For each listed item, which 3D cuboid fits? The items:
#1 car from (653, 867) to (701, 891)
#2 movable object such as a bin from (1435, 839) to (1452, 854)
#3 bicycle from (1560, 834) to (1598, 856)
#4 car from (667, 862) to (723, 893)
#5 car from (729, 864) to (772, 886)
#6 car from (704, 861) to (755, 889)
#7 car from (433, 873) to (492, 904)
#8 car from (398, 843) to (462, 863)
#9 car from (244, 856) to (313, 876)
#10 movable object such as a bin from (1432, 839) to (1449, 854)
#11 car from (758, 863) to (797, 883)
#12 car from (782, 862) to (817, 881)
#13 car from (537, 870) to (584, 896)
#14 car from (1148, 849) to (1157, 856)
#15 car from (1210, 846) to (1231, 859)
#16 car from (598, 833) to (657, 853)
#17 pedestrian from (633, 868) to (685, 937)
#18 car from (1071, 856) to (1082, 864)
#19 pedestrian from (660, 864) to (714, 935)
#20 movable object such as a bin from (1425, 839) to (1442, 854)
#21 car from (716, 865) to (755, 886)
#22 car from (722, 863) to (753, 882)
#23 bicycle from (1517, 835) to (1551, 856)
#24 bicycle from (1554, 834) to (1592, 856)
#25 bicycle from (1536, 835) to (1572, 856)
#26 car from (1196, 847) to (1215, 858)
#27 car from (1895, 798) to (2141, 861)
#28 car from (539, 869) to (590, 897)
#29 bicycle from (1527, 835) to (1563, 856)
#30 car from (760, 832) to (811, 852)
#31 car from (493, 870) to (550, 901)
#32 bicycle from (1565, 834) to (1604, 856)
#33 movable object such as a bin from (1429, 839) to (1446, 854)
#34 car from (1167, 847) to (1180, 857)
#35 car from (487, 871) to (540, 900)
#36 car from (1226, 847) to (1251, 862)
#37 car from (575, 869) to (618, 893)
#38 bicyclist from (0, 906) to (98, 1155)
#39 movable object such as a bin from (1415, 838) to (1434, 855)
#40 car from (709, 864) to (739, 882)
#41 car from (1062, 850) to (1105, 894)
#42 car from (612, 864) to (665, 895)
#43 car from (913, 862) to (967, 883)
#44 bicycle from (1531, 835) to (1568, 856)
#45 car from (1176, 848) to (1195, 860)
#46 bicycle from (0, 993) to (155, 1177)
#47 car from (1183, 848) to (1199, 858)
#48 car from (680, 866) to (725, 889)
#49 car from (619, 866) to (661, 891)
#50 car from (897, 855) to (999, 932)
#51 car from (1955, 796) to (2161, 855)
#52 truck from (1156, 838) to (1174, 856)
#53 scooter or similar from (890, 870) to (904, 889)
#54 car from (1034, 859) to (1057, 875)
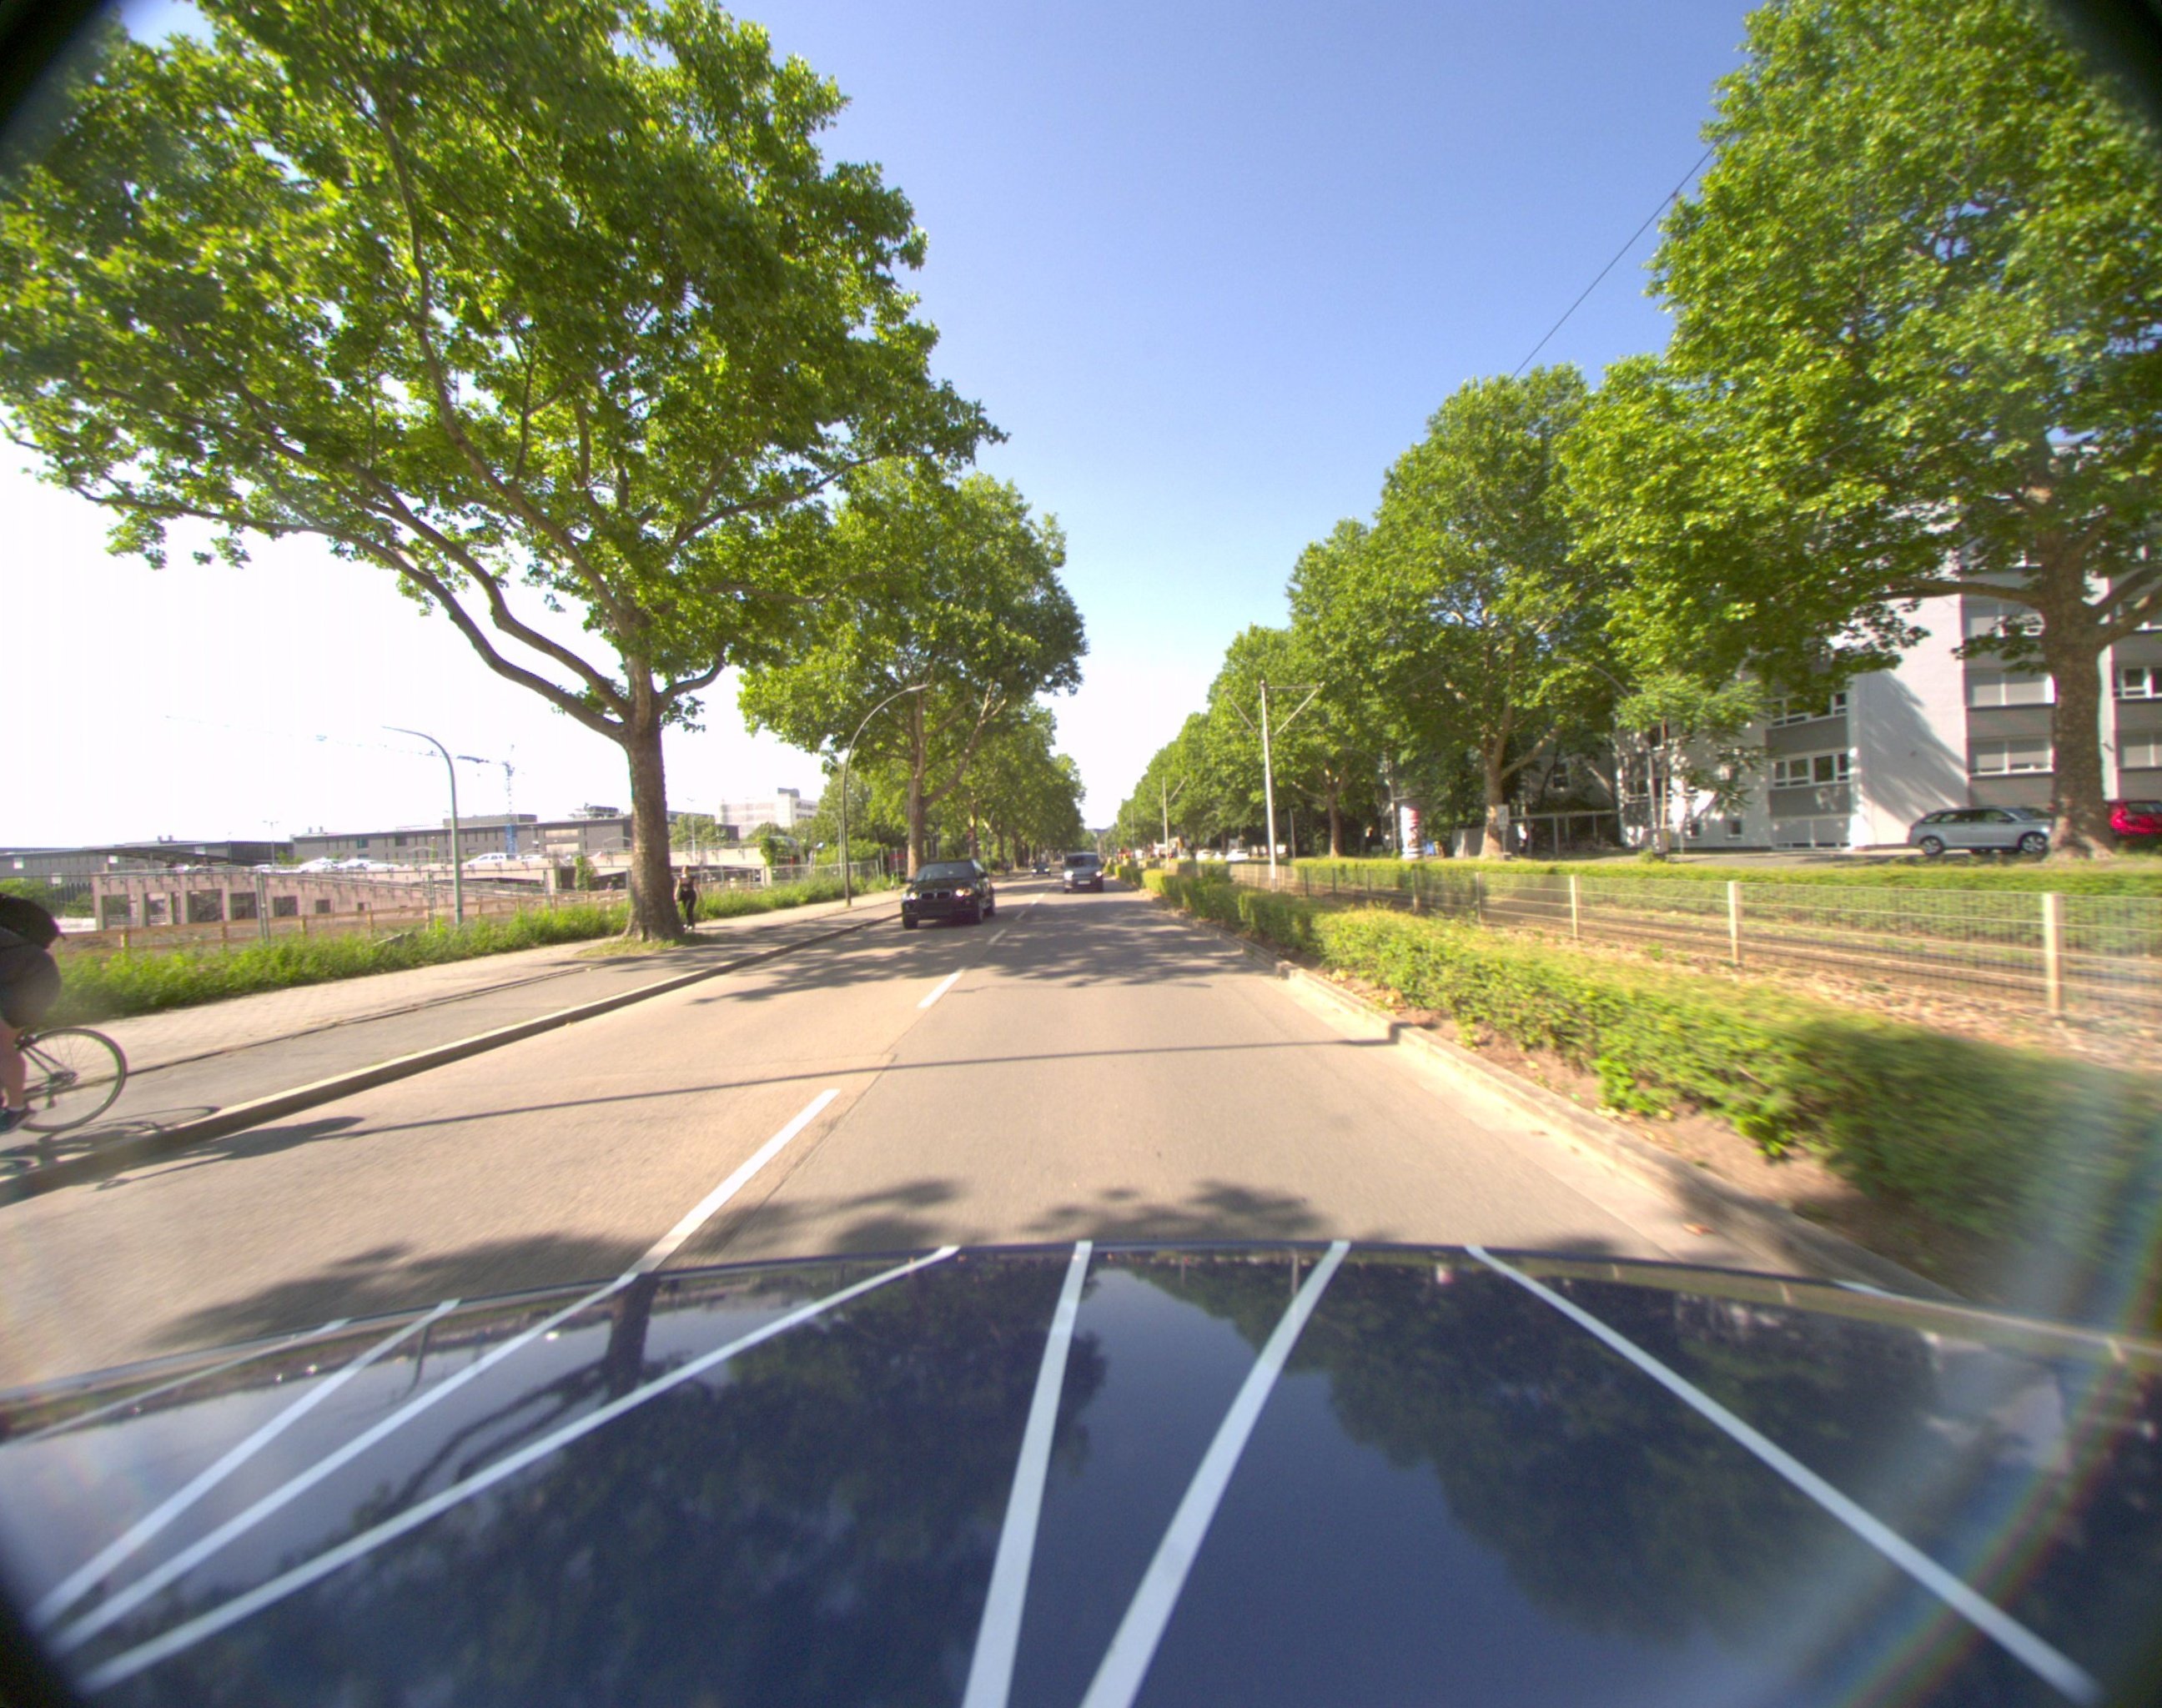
[{"bbox_3d":[-43.230,2.684,81.324,3.997,2.308,1.808,-3,0,-2],"label":"car"},{"bbox_3d":[25.422,-0.508,53.260,0.898,1.031,0.546,-3,0,0],"label":"movable object such as a bin"},{"bbox_3d":[27.172,-0.498,41.447,1.770,1.096,0.422,-3,0,0],"label":"bicycle"},{"bbox_3d":[-37.739,2.235,74.323,4.375,2.723,1.808,-3,0,-2],"label":"car"},{"bbox_3d":[-37.822,2.390,87.115,3.997,2.308,1.808,-3,0,-2],"label":"car"},{"bbox_3d":[-37.600,2.207,81.355,4.375,2.723,1.808,-3,0,-2],"label":"car"},{"bbox_3d":[-60.263,3.366,74.062,3.997,2.723,1.808,-3,0,-2],"label":"car"},{"bbox_3d":[-57.855,-0.072,67.608,3.997,1.501,1.808,-3,0,-2],"label":"car"},{"bbox_3d":[-71.391,1.043,67.625,3.997,1.501,1.808,-3,0,-2],"label":"car"},{"bbox_3d":[25.491,-0.513,53.815,0.898,1.031,0.546,-3,0,0],"label":"movable object such as a bin"},{"bbox_3d":[-38.032,2.377,95.157,3.997,2.308,1.808,-3,0,-2],"label":"car"},{"bbox_3d":[-37.789,2.344,102.048,3.997,2.308,1.808,-3,0,-2],"label":"car"},{"bbox_3d":[-60.140,3.319,87.798,3.997,2.723,1.808,-3,0,-2],"label":"car"},{"bbox_3d":[16.626,-0.336,177.113,1.752,1.445,3.865,-3,0,0],"label":"car"},{"bbox_3d":[17.262,-0.162,94.113,1.856,1.445,4.000,-3,0,0],"label":"car"},{"bbox_3d":[-40.401,-0.964,67.752,3.997,1.501,1.808,-3,0,-2],"label":"car"},{"bbox_3d":[-10.898,1.229,19.650,0.697,1.673,0.959,-3,0,0],"label":"pedestrian"},{"bbox_3d":[-0.898,1.086,143.735,1.854,1.418,4.152,-4,0,2],"label":"car"},{"bbox_3d":[-10.102,1.147,19.521,0.711,1.714,1.066,-3,0,0],"label":"pedestrian"},{"bbox_3d":[25.491,-0.517,54.987,0.898,1.031,0.546,-3,0,0],"label":"movable object such as a bin"},{"bbox_3d":[-43.200,2.641,95.098,3.997,2.308,1.808,-3,0,-2],"label":"car"},{"bbox_3d":[-55.335,2.971,122.407,3.997,2.723,1.808,-3,0,-2],"label":"car"},{"bbox_3d":[27.055,-0.503,45.376,1.770,1.096,0.422,-3,0,0],"label":"bicycle"},{"bbox_3d":[27.163,-0.499,41.944,1.770,1.096,0.422,-3,0,0],"label":"bicycle"},{"bbox_3d":[27.015,-0.495,43.389,1.770,1.096,0.422,-3,0,0],"label":"bicycle"},{"bbox_3d":[17.099,-0.194,104.810,1.860,1.445,4.000,-3,0,0],"label":"car"},{"bbox_3d":[26.948,-0.643,22.137,1.747,1.541,4.348,-3,0,0],"label":"car"},{"bbox_3d":[-55.014,3.077,81.048,3.997,2.723,1.808,-3,0,-2],"label":"car"},{"bbox_3d":[27.054,-0.500,44.290,1.770,1.096,0.422,-3,0,0],"label":"bicycle"},{"bbox_3d":[-27.336,-1.098,70.351,3.997,1.501,1.808,-3,0,-2],"label":"car"},{"bbox_3d":[-54.494,3.072,74.020,3.997,2.723,1.808,-3,0,-2],"label":"car"},{"bbox_3d":[27.170,-0.496,40.983,1.770,1.096,0.422,-3,0,0],"label":"bicycle"},{"bbox_3d":[25.501,-0.515,54.380,0.898,1.031,0.546,-3,0,0],"label":"movable object such as a bin"},{"bbox_3d":[15.700,-0.303,128.861,1.701,1.406,3.892,-6,0,0],"label":"car"},{"bbox_3d":[-60.325,3.349,80.804,3.997,2.723,1.808,-3,0,-2],"label":"car"},{"bbox_3d":[16.635,0.089,80.388,1.820,1.482,3.912,-1,0,0],"label":"car"},{"bbox_3d":[-60.409,3.312,94.694,3.997,2.723,1.808,-3,0,-2],"label":"car"},{"bbox_3d":[-6.876,1.092,4.465,0.599,1.481,1.215,0,0,0],"label":"bicyclist"},{"bbox_3d":[25.487,-0.559,56.413,0.898,1.182,1.099,-3,0,0],"label":"movable object such as a bin"},{"bbox_3d":[-60.685,3.224,129.122,3.997,2.723,1.808,-3,0,-2],"label":"car"},{"bbox_3d":[0.175,0.789,35.194,1.789,1.839,4.000,-2,0,2],"label":"car"},{"bbox_3d":[-43.300,2.501,74.378,3.997,2.723,1.808,-3,0,-2],"label":"car"},{"bbox_3d":[-10.803,1.428,58.027,3.989,1.400,1.900,-3,0,42],"label":"car"},{"bbox_3d":[27.020,-0.497,43.828,1.770,1.096,0.422,-3,0,0],"label":"bicycle"},{"bbox_3d":[13.626,0.011,99.522,1.860,1.445,4.000,-3,0,0],"label":"car"},{"bbox_3d":[-6.872,1.476,4.491,0.599,0.974,1.781,-1,0,0],"label":"bicycle"},{"bbox_3d":[16.693,-0.183,115.817,1.701,1.406,3.892,-6,0,0],"label":"car"},{"bbox_3d":[-43.257,2.669,86.878,3.997,2.308,1.808,-3,0,-2],"label":"car"},{"bbox_3d":[-55.091,3.040,94.865,3.997,2.723,1.808,-3,0,-2],"label":"car"},{"bbox_3d":[-3.443,0.962,20.482,1.924,1.720,4.151,-4,0,0],"label":"car"},{"bbox_3d":[29.250,-0.788,22.646,1.747,1.541,4.000,-3,0,0],"label":"car"},{"bbox_3d":[16.984,-1.356,153.431,2.752,3.259,6.541,-3,0,0],"label":"truck"},{"bbox_3d":[-11.540,1.592,47.628,0.483,1.115,1.128,-3,0,1],"label":"scooter or similar"},{"bbox_3d":[-3.531,1.284,75.727,1.854,1.418,4.152,-4,0,2],"label":"car"}]
